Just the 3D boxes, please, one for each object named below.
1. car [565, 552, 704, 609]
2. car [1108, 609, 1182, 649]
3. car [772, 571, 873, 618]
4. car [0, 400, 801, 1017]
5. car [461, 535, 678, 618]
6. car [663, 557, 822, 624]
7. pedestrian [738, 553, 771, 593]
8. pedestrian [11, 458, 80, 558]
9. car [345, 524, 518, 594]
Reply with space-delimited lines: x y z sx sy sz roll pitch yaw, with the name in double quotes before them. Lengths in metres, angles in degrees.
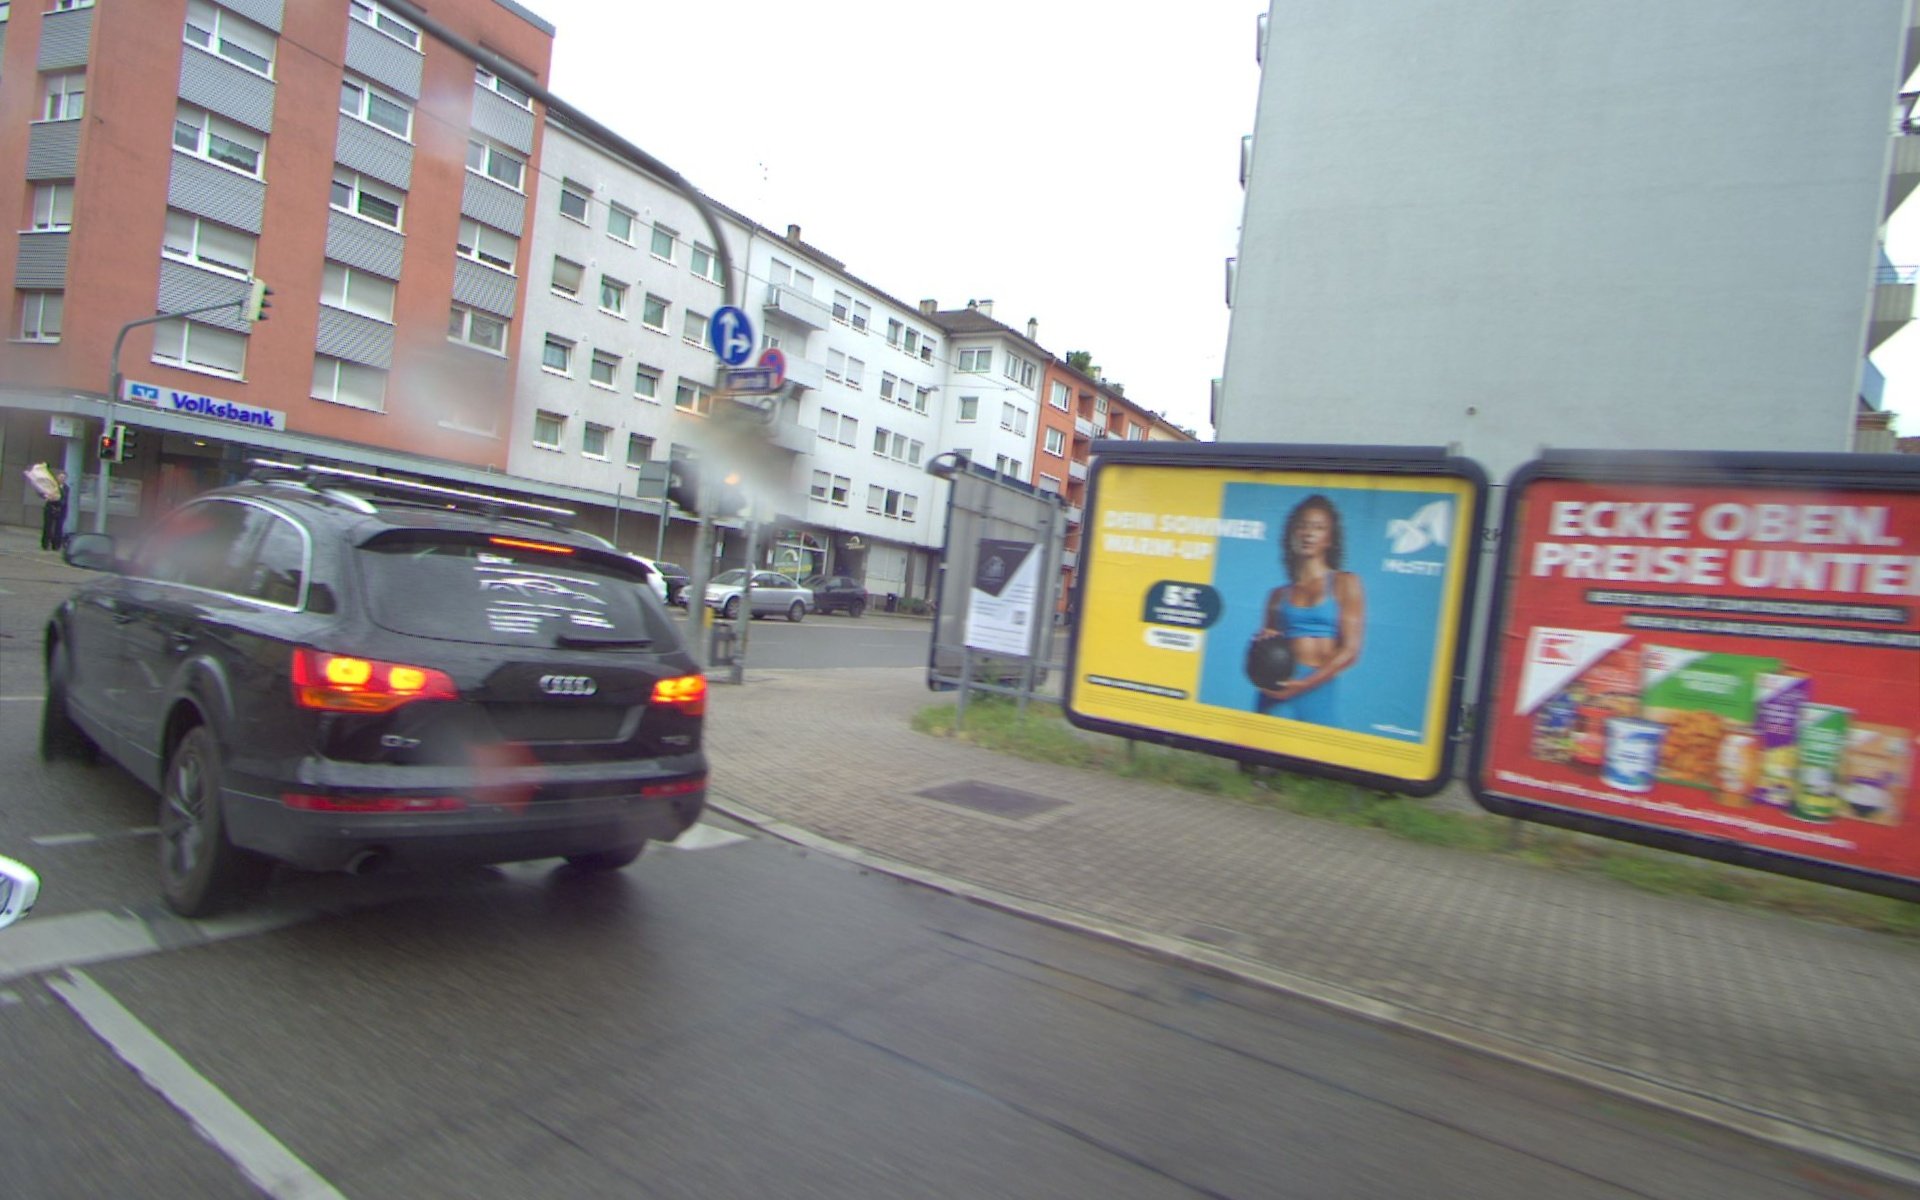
"car" -10.867 -0.623 33.889 1.640 1.443 4.373 7 1 32
"car" 8.940 1.434 48.283 1.968 1.504 3.990 8 0 33
"car" -5.714 -0.188 42.201 1.728 1.562 4.240 7 1 33
"car" -3.320 0.215 5.389 4.828 1.891 2.020 7 -1 40
"car" -9.317 -0.509 24.429 1.887 1.505 4.656 7 1 30
"car" -6.250 -0.240 29.359 1.815 1.505 4.513 7 1 32
"pedestrian" -9.351 -1.240 45.827 0.812 1.631 1.012 8 0 33
"pedestrian" -21.496 -2.164 23.653 0.757 2.184 0.826 8 0 32
"car" -14.771 -1.106 28.313 1.674 1.505 3.949 7 1 32
